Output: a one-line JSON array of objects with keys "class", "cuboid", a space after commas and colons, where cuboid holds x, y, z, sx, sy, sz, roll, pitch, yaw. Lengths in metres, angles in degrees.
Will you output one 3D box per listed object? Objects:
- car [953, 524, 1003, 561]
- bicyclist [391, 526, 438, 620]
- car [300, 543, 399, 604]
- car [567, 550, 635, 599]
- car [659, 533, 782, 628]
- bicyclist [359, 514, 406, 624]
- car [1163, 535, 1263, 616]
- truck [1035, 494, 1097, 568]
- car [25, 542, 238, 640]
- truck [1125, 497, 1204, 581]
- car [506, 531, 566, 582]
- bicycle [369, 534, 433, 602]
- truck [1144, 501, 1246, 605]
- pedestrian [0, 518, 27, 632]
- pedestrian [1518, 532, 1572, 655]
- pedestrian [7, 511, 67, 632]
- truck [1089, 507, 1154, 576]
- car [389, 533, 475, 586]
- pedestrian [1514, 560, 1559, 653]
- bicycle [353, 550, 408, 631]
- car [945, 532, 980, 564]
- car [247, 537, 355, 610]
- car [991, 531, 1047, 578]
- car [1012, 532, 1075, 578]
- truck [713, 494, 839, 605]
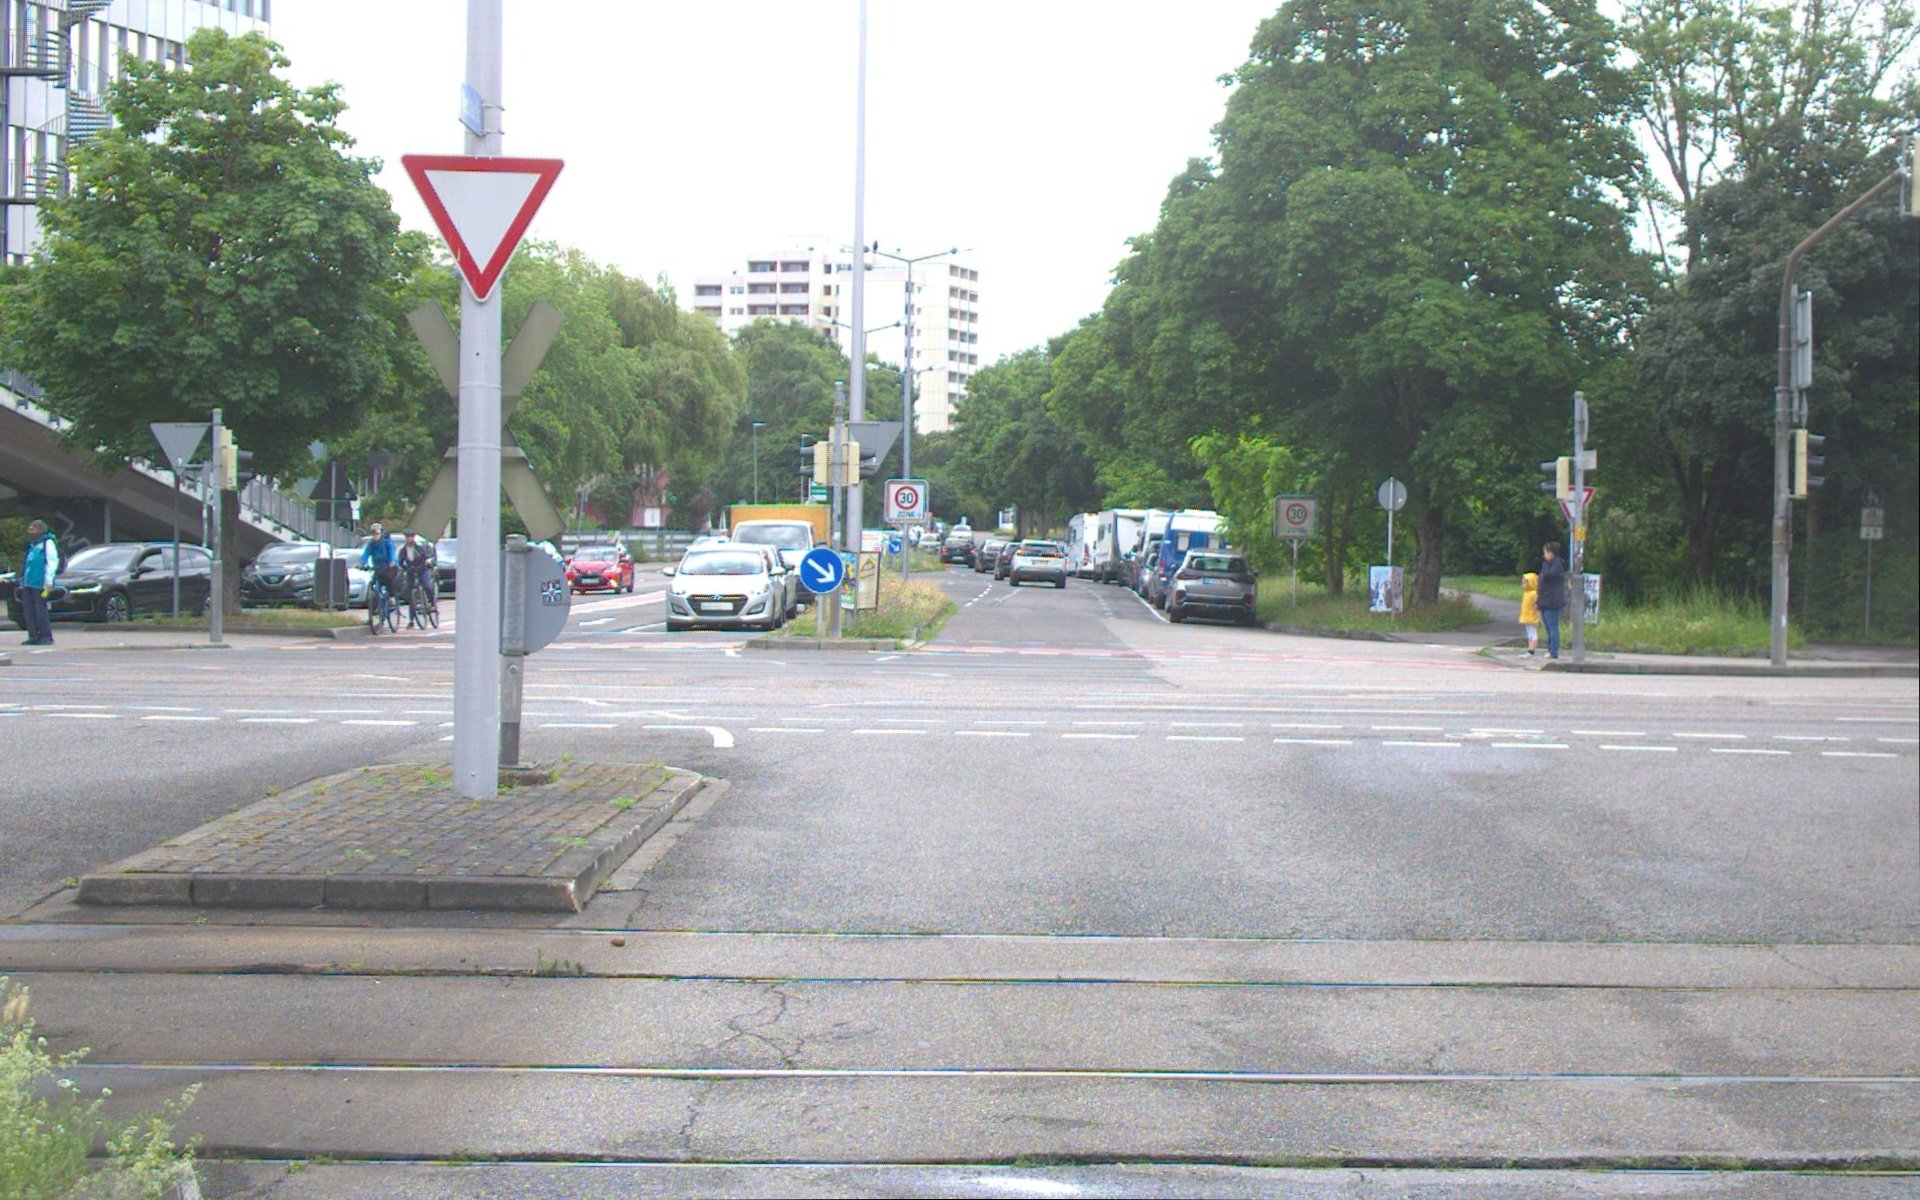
[{"class": "car", "cuboid": [0.729, -2.400, 143.065, 2.020, 1.500, 4.000, 1, 1, -1]}, {"class": "bicyclist", "cuboid": [-9.268, -0.460, 58.411, 0.679, 1.589, 0.695, 1, 0, -1]}, {"class": "car", "cuboid": [-14.745, -0.655, 83.139, 1.671, 1.382, 3.895, 1, 1, 0]}, {"class": "car", "cuboid": [-10.587, -0.753, 101.461, 1.512, 1.385, 3.532, 1, 1, 2]}, {"class": "car", "cuboid": [-3.997, -0.358, 57.875, 1.789, 1.514, 4.326, 1, 1, -1]}, {"class": "bicyclist", "cuboid": [-9.342, -0.500, 55.641, 0.644, 1.762, 0.647, 1, 1, -1]}, {"class": "car", "cuboid": [5.402, -0.541, 73.926, 1.784, 1.656, 4.000, 1, 1, -1]}, {"class": "truck", "cuboid": [4.395, -2.851, 142.919, 1.993, 2.998, 5.773, 1, 1, -4]}, {"class": "car", "cuboid": [-13.772, -0.179, 57.338, 1.673, 1.546, 3.997, 1, 1, 16]}, {"class": "truck", "cuboid": [7.109, -2.117, 120.059, 1.993, 2.828, 5.732, 1, 1, -4]}, {"class": "car", "cuboid": [-13.287, -1.380, 107.954, 1.444, 1.546, 3.664, 1, 1, -1]}, {"class": "bicycle", "cuboid": [-9.366, -0.552, 57.663, 0.726, 1.097, 2.264, 1, 1, -1]}, {"class": "truck", "cuboid": [6.158, -1.235, 90.718, 2.174, 2.647, 6.247, 0, 1, -1]}, {"class": "pedestrian", "cuboid": [-12.965, -0.342, 45.953, 0.917, 1.505, 0.404, 1, 1, -11]}, {"class": "pedestrian", "cuboid": [8.369, -0.093, 49.216, 0.657, 1.744, 0.459, 1, 1, -1]}, {"class": "pedestrian", "cuboid": [-12.292, -0.381, 45.787, 0.687, 1.599, 0.488, 1, 1, -5]}, {"class": "truck", "cuboid": [6.171, -2.243, 132.132, 1.993, 2.564, 5.379, 1, 1, -2]}, {"class": "car", "cuboid": [-14.486, -1.129, 94.533, 1.763, 1.390, 4.000, 1, 1, -1]}, {"class": "pedestrian", "cuboid": [8.365, 0.093, 49.890, 0.527, 1.337, 0.525, 1, 1, -1]}, {"class": "bicycle", "cuboid": [-9.364, -0.163, 55.572, 0.543, 1.263, 2.111, 1, 1, -1]}, {"class": "car", "cuboid": [0.113, -2.533, 167.016, 1.554, 1.500, 4.001, 1, 1, -2]}, {"class": "car", "cuboid": [-14.849, -0.619, 77.643, 1.671, 1.546, 3.892, 1, 1, 0]}, {"class": "car", "cuboid": [2.250, -1.735, 131.886, 1.993, 1.757, 4.000, 1, 1, -1]}, {"class": "car", "cuboid": [2.874, -1.573, 118.715, 2.020, 1.500, 4.000, 1, 1, -1]}, {"class": "truck", "cuboid": [-3.804, -1.077, 72.056, 2.155, 2.191, 5.840, 1, 1, 2]}]
